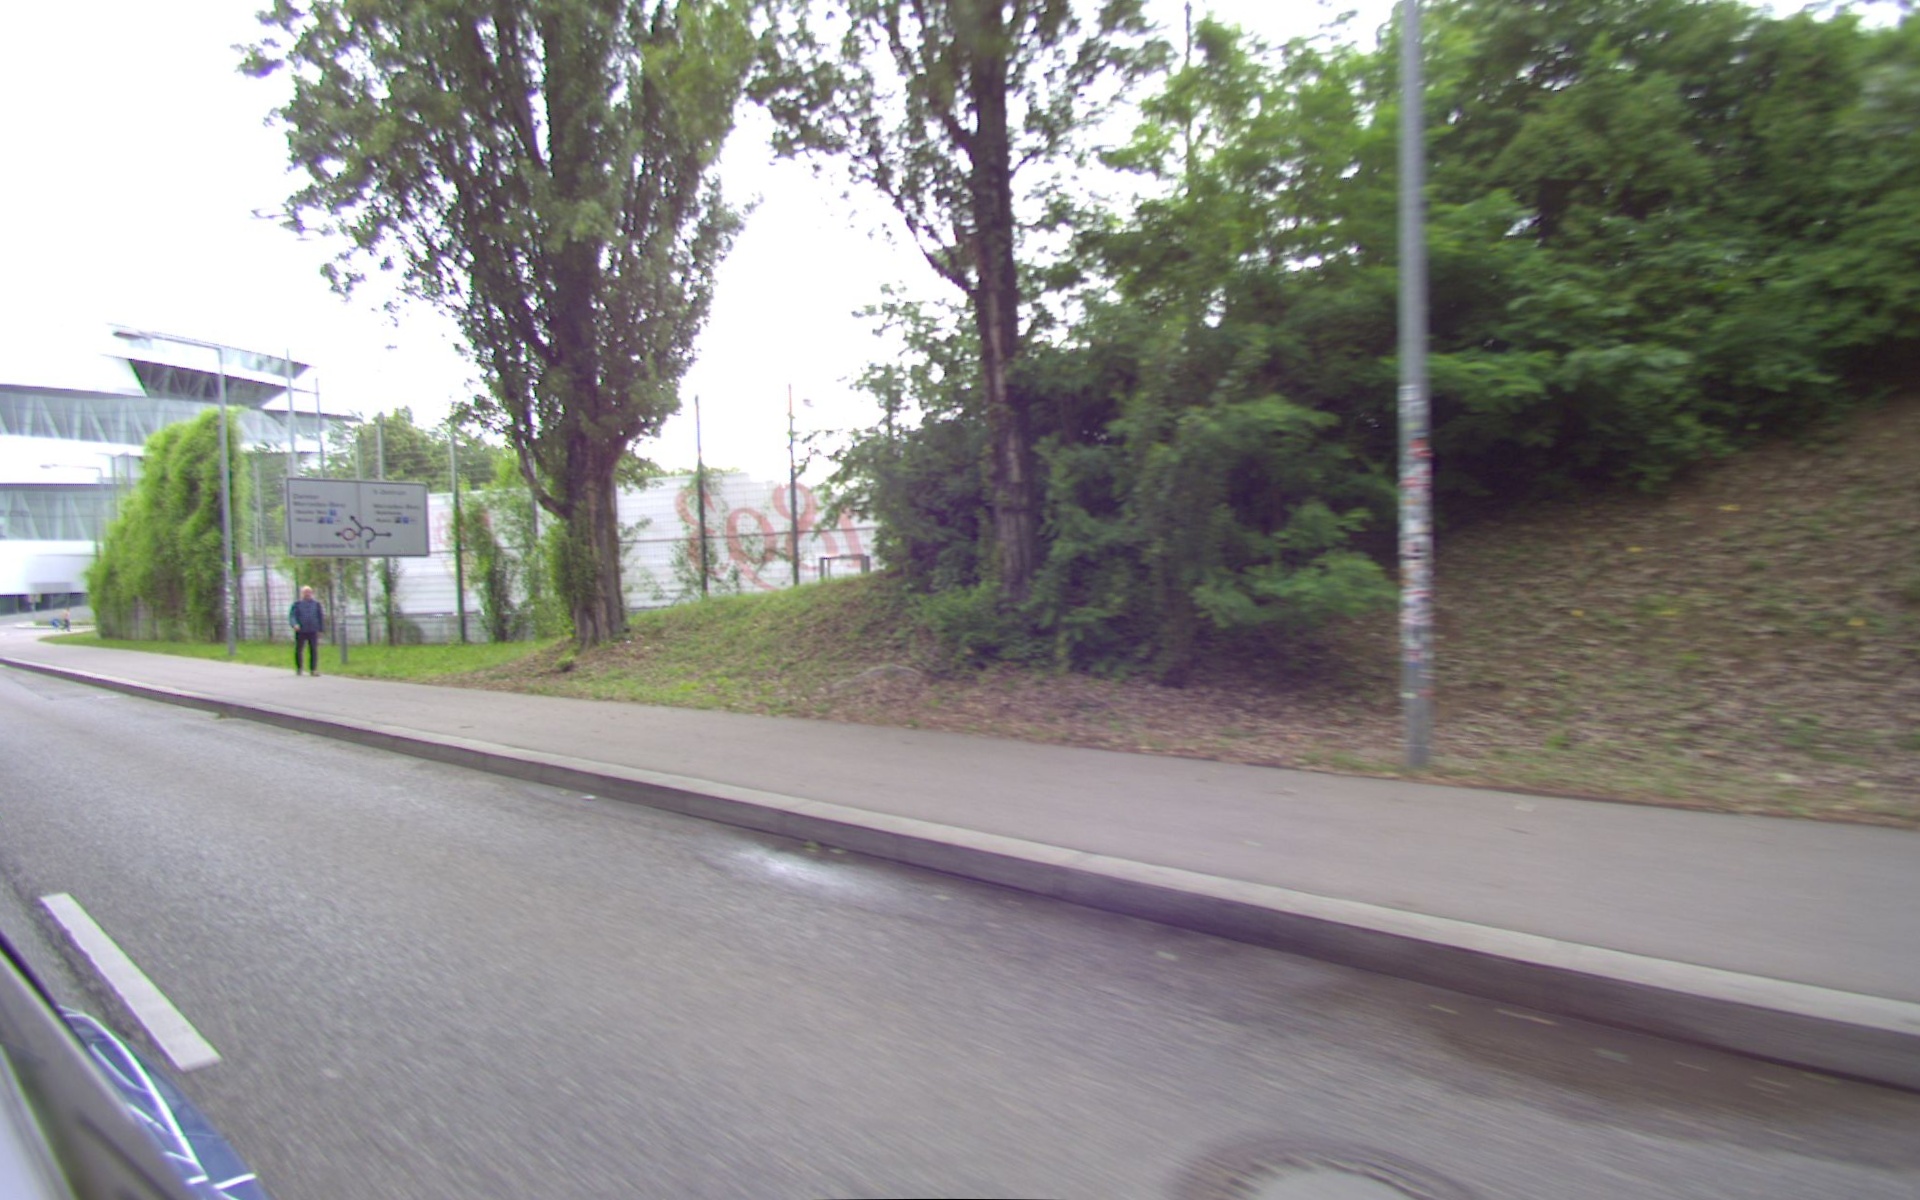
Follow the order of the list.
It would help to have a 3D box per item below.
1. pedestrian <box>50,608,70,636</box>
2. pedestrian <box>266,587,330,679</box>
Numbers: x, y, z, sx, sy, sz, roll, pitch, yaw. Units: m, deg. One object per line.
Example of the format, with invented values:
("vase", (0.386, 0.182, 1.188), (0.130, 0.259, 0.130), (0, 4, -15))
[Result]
("pedestrian", (-67.184, 1.669, 75.553), (1.024, 2.029, 0.785), (-2, 0, -42))
("pedestrian", (-13.353, 0.662, 20.422), (0.919, 1.794, 0.796), (-2, 0, 39))
